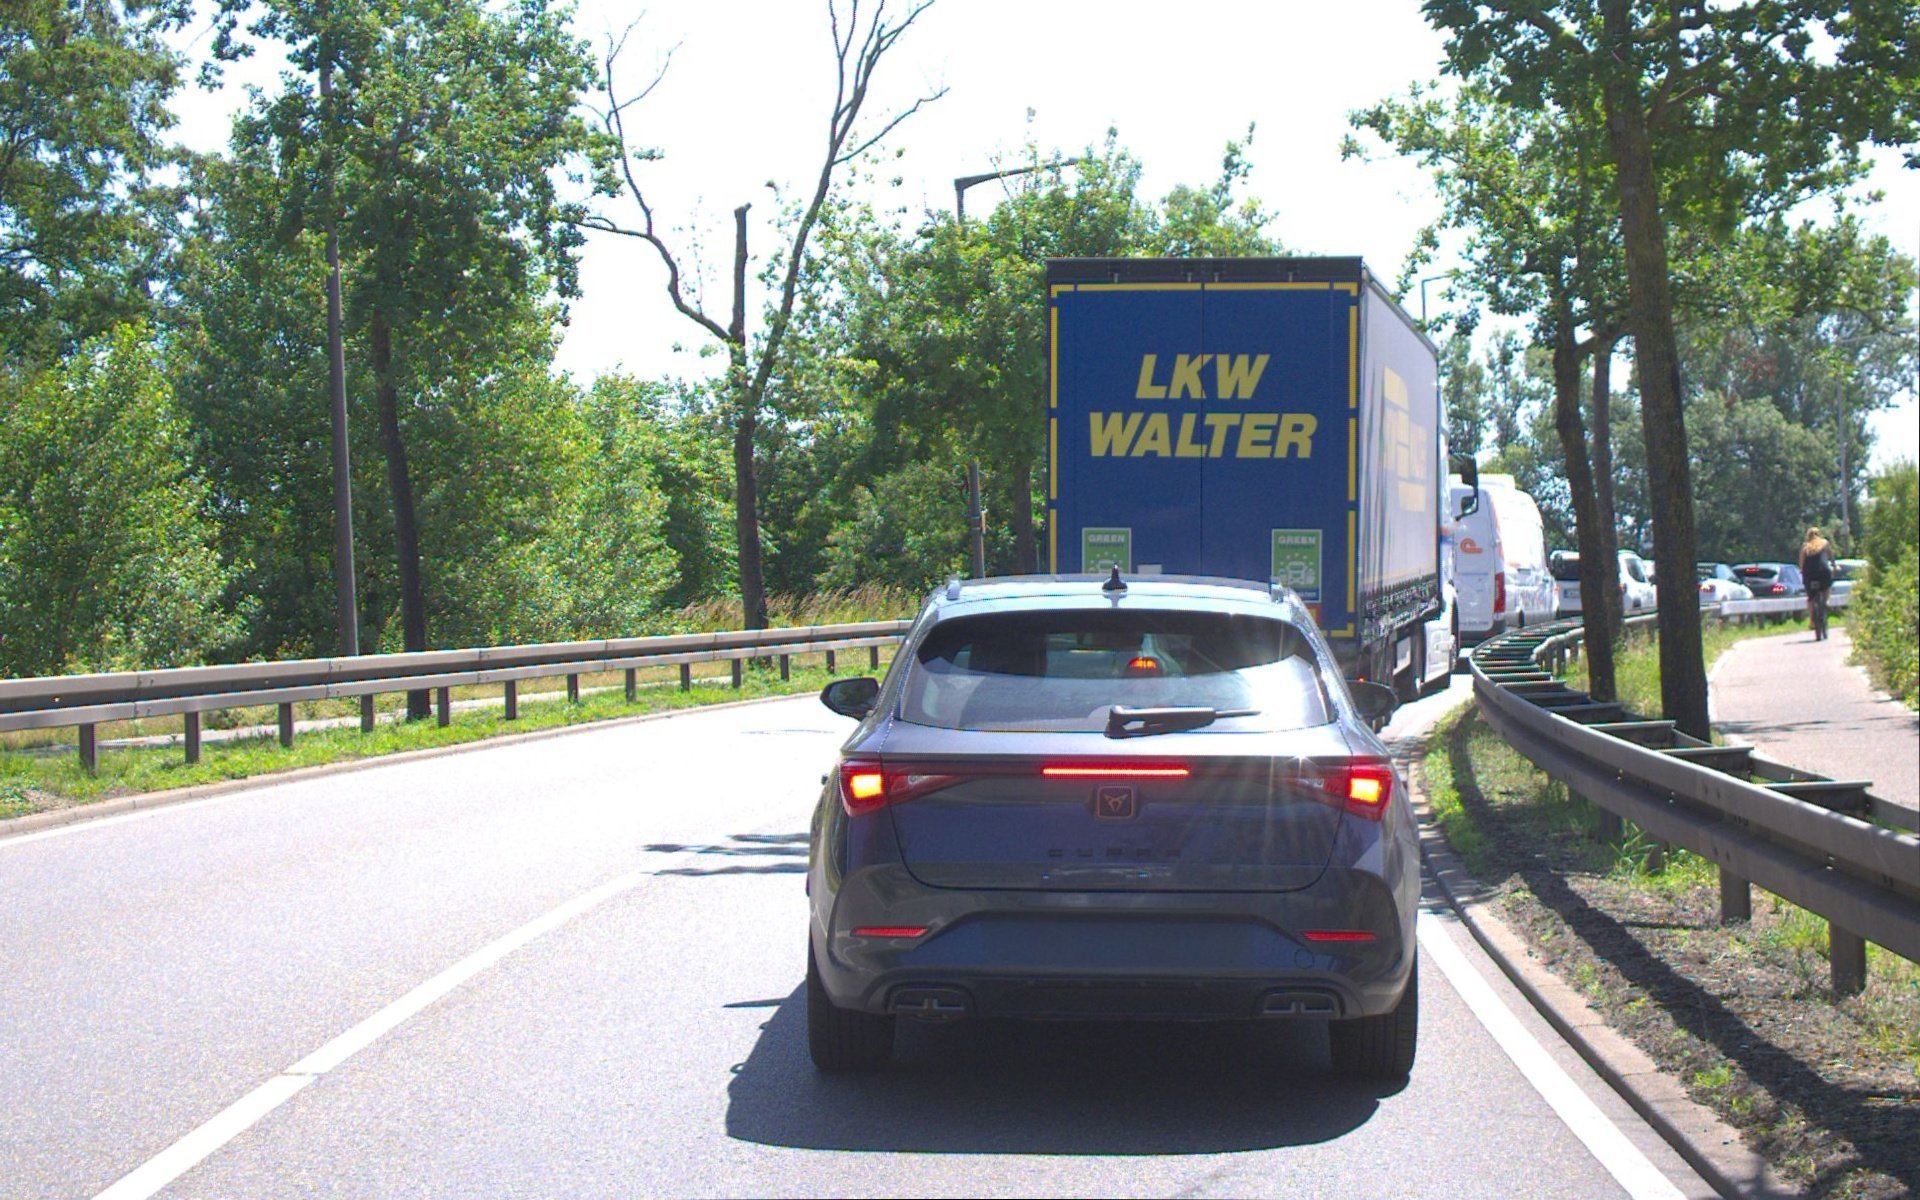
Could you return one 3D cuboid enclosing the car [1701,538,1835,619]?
[{"bbox_3d":[17.766,-0.466,75.433,1.996,1.711,4.862,1,0,24],"label":"car"}]

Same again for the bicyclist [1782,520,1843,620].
[{"bbox_3d":[13.192,-0.466,53.211,0.861,1.518,0.980,1,0,12],"label":"bicyclist"}]

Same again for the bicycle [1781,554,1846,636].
[{"bbox_3d":[13.201,-0.082,53.226,0.861,1.232,2.308,1,0,12],"label":"bicycle"}]

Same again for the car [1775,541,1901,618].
[{"bbox_3d":[20.896,-0.492,81.682,1.996,1.762,4.748,1,0,25],"label":"car"}]

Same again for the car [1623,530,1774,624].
[{"bbox_3d":[14.763,-0.462,68.563,1.996,1.802,4.839,1,0,24],"label":"car"}]

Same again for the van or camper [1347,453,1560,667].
[{"bbox_3d":[7.435,-0.584,51.234,2.468,2.988,6.082,1,0,15],"label":"van or camper"}]

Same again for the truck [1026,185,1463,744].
[{"bbox_3d":[3.471,-1.146,35.797,2.951,4.433,16.791,1,0,10],"label":"truck"}]

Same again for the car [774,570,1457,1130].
[{"bbox_3d":[0.401,0.626,10.773,1.744,1.427,3.880,0,0,0],"label":"car"}]

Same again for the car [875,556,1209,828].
[{"bbox_3d":[0.599,0.494,21.234,1.809,1.503,3.999,0,0,5],"label":"car"}]

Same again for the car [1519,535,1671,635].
[{"bbox_3d":[11.383,-0.278,61.426,1.995,1.706,4.615,1,0,19],"label":"car"}]
